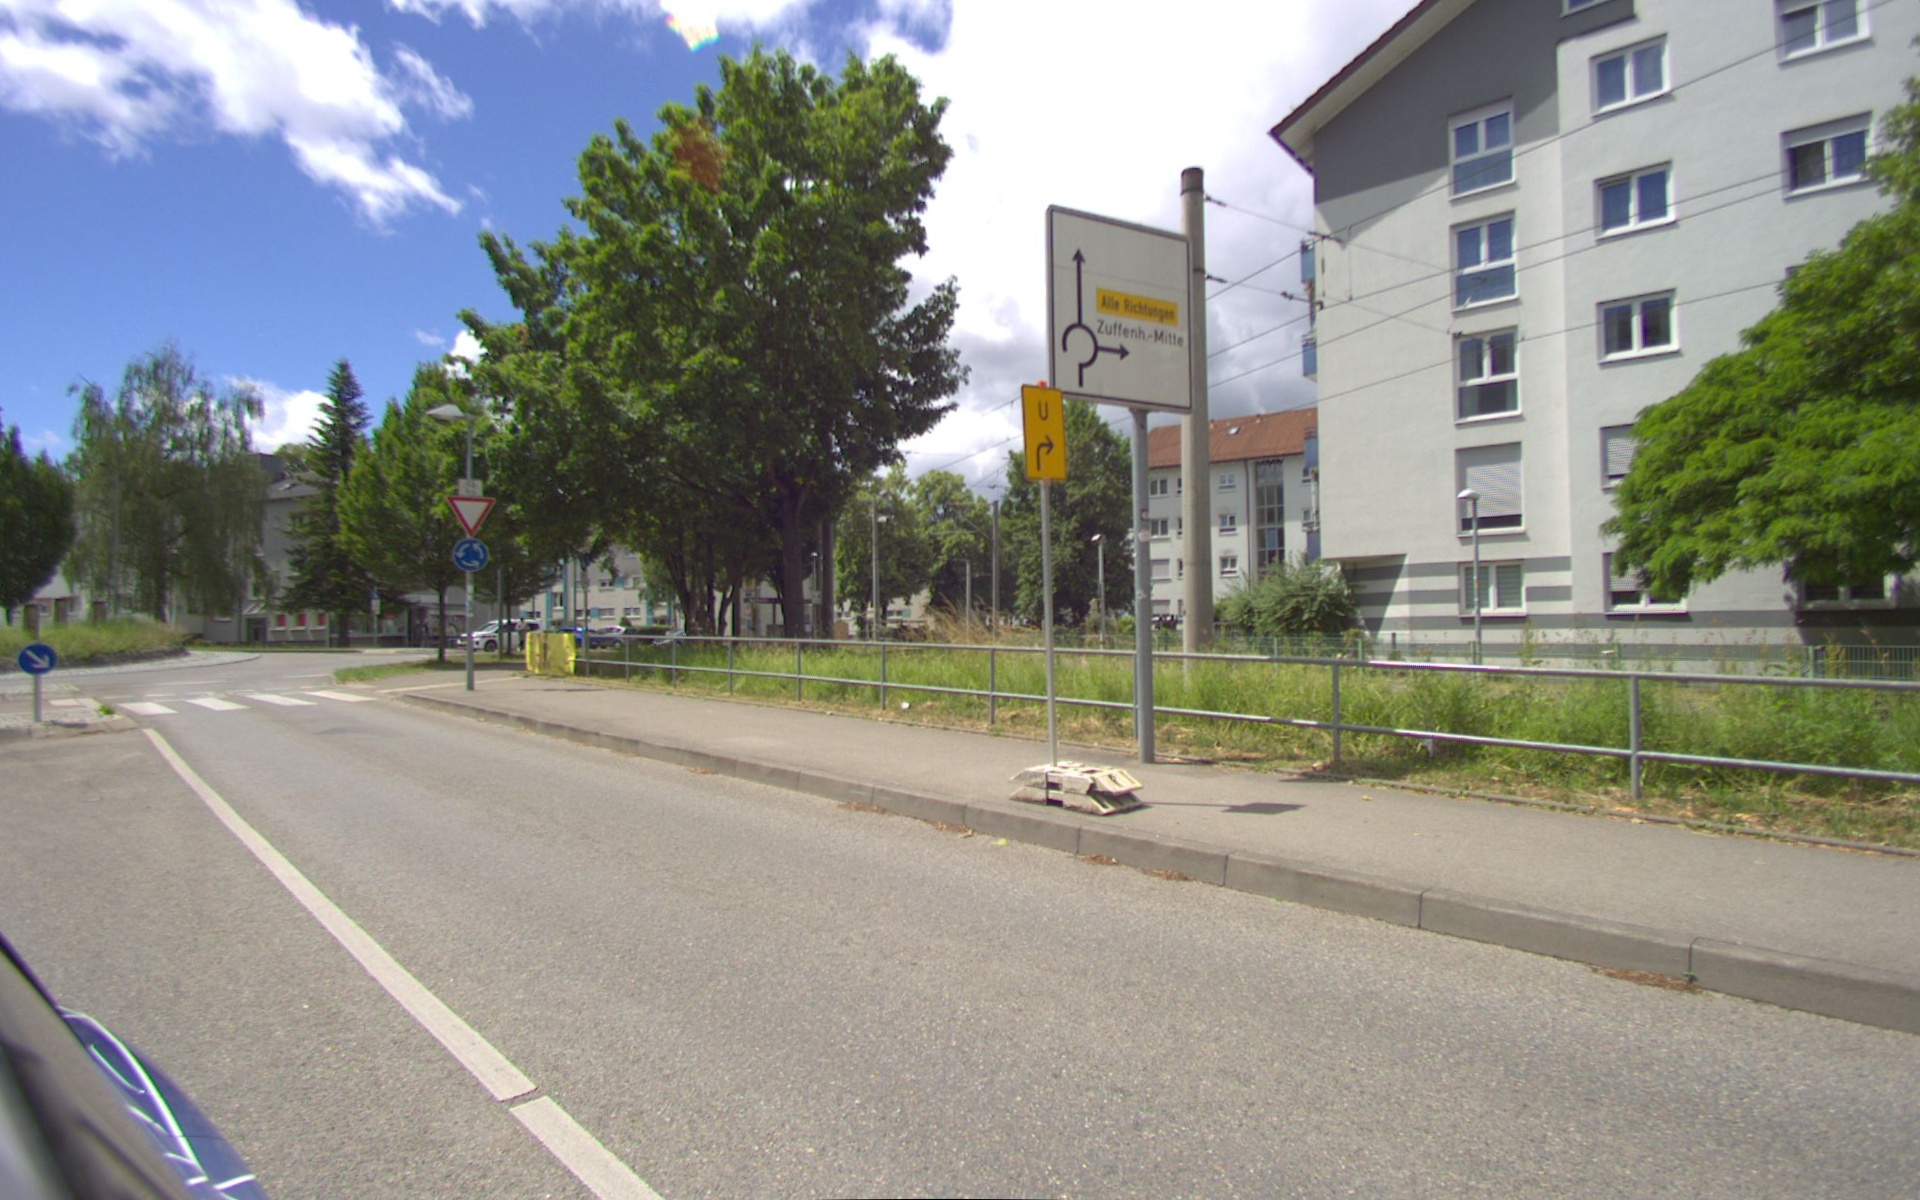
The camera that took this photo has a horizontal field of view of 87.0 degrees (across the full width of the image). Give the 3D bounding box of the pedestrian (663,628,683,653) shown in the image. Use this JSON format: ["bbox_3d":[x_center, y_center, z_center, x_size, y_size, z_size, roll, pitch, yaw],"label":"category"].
[{"bbox_3d":[-19.462,2.741,68.622,0.874,1.677,1.009,-1,-2,36],"label":"pedestrian"}]

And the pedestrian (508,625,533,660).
[{"bbox_3d":[-21.656,2.082,49.880,0.862,1.677,1.023,2,-2,-41],"label":"pedestrian"}]

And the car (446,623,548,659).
[{"bbox_3d":[-24.421,2.155,53.518,1.992,1.810,4.570,-1,-2,30],"label":"car"}]

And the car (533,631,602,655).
[{"bbox_3d":[-25.751,2.820,66.470,4.094,1.535,1.796,-1,-2,21],"label":"car"}]

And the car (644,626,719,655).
[{"bbox_3d":[-17.931,2.599,65.361,1.994,1.810,4.568,-1,-2,32],"label":"car"}]
